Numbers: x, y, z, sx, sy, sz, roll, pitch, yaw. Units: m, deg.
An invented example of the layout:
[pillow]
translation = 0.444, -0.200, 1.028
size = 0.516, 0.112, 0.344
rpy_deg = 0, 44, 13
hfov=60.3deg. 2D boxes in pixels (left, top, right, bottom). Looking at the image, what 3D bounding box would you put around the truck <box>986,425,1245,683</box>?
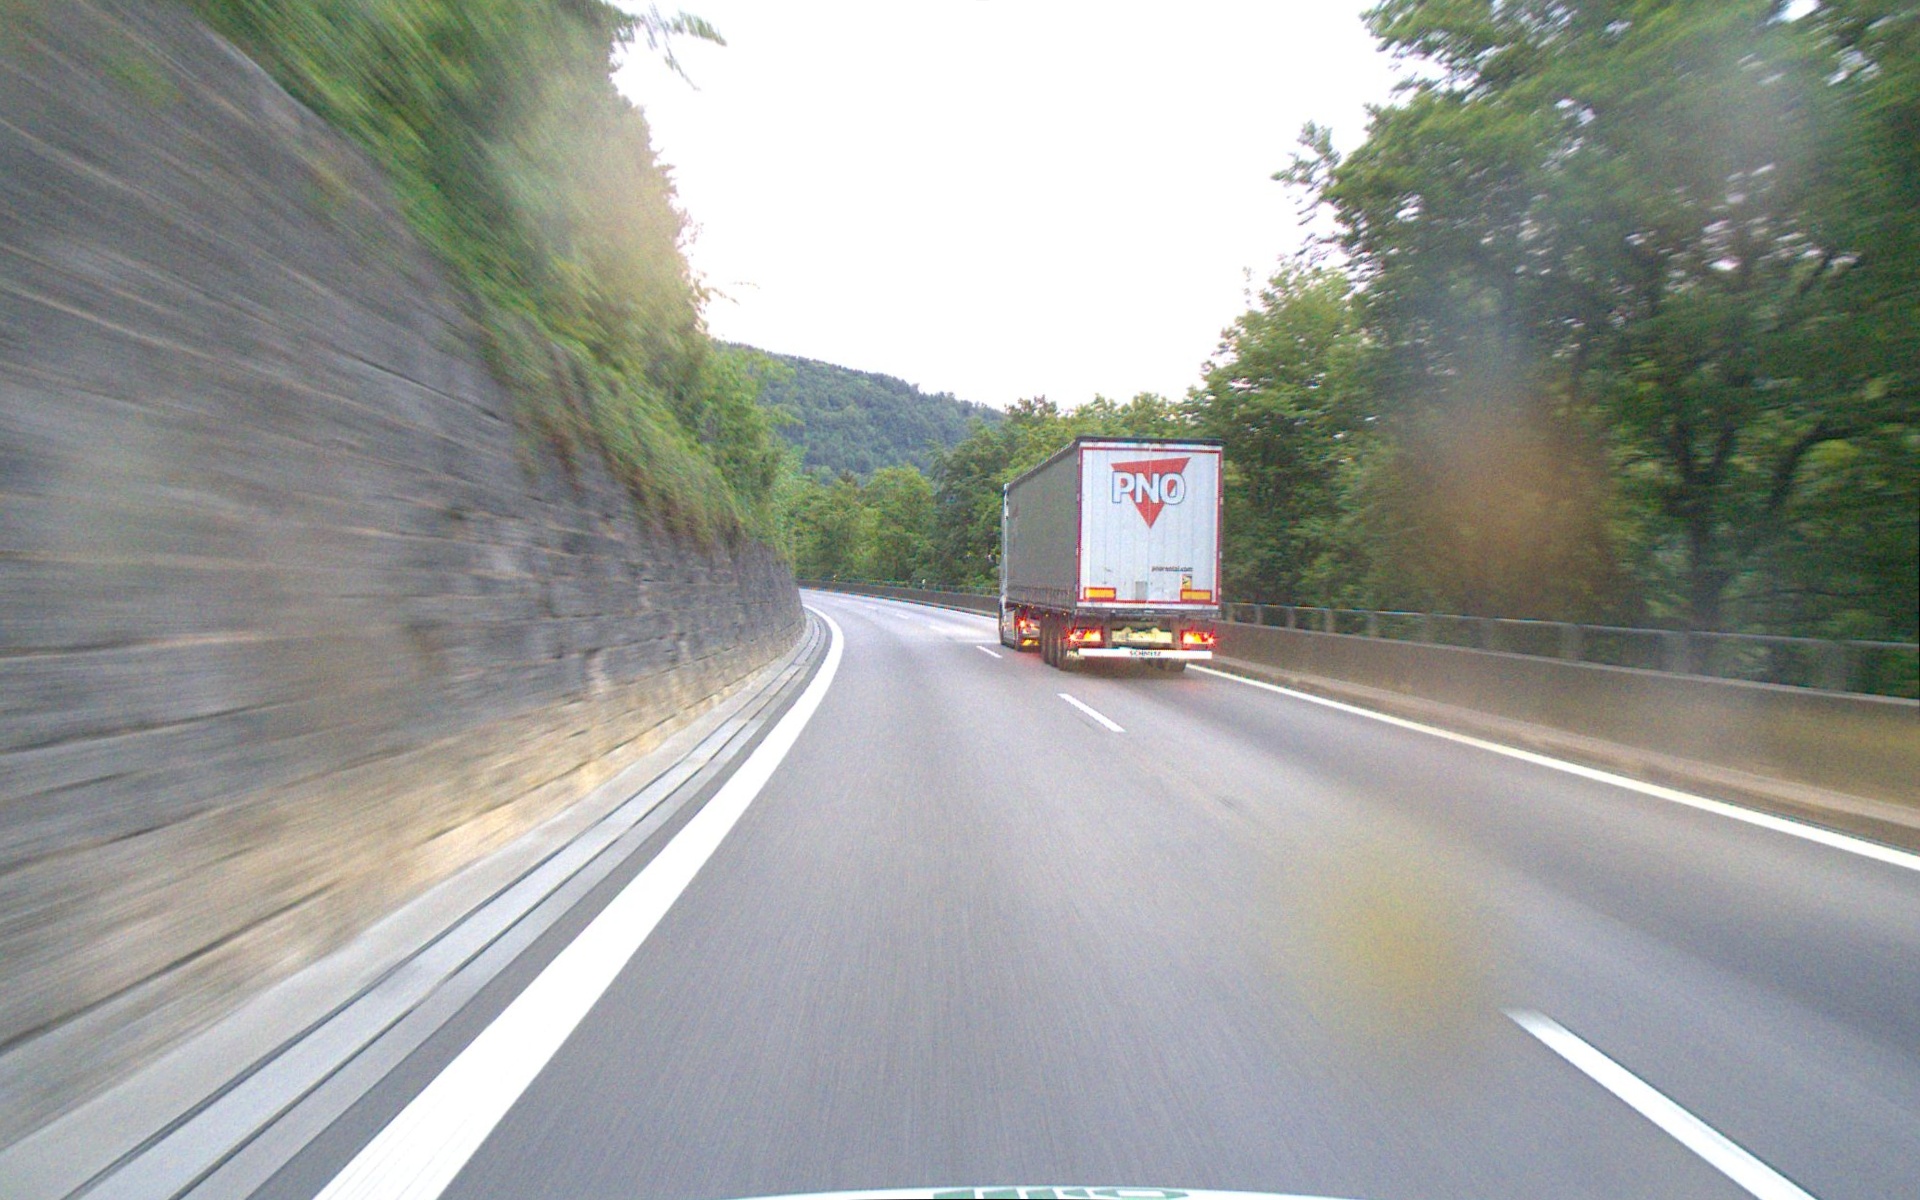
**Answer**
[truck]
translation = 2.735, -0.833, 35.951
size = 3.229, 4.245, 16.494
rpy_deg = 1, 0, -3
